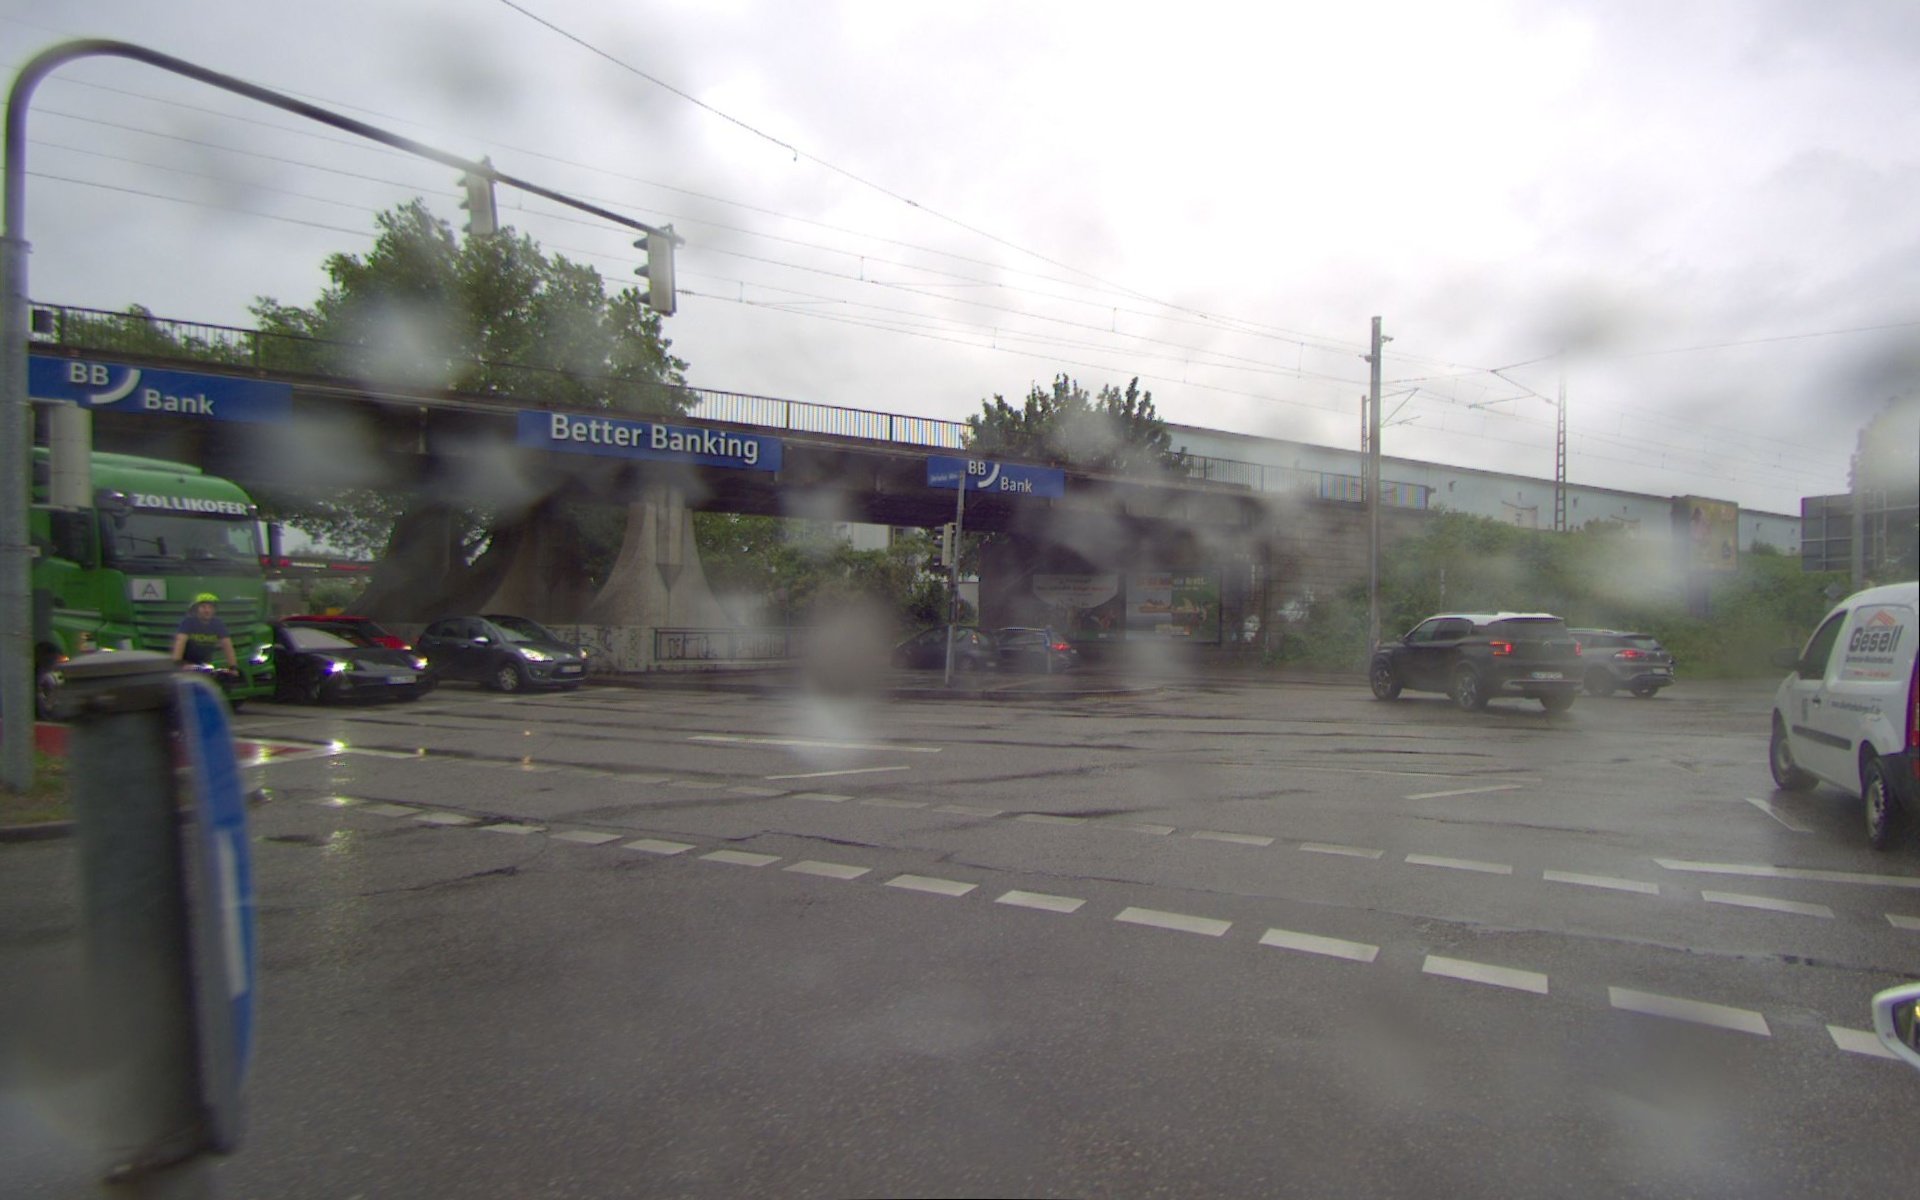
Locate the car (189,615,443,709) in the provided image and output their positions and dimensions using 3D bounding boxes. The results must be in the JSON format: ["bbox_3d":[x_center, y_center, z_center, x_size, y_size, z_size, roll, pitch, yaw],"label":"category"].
[{"bbox_3d":[-11.602,1.041,18.043,4.598,1.505,1.744,0,-2,27],"label":"car"}]

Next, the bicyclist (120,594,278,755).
[{"bbox_3d":[-8.094,0.767,10.722,1.026,1.614,0.805,2,0,4],"label":"bicyclist"}]

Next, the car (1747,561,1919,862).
[{"bbox_3d":[7.330,0.699,7.415,1.730,1.801,3.993,2,1,29],"label":"car"}]

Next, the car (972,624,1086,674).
[{"bbox_3d":[2.187,1.523,32.008,3.292,1.493,1.568,0,-1,25],"label":"car"}]

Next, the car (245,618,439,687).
[{"bbox_3d":[-14.103,1.148,22.930,3.923,1.471,1.820,0,-2,23],"label":"car"}]

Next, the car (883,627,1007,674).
[{"bbox_3d":[-0.460,1.469,29.914,3.399,1.323,1.579,-1,-1,32],"label":"car"}]

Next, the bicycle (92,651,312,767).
[{"bbox_3d":[-8.060,1.137,10.725,1.874,1.109,0.695,1,0,5],"label":"bicycle"}]

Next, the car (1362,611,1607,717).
[{"bbox_3d":[9.025,1.046,17.709,1.888,1.630,3.996,0,-1,-7],"label":"car"}]

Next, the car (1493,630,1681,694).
[{"bbox_3d":[14.027,1.333,22.628,1.663,1.300,3.238,1,-1,-24],"label":"car"}]

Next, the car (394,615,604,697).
[{"bbox_3d":[-9.437,1.099,20.587,3.922,1.566,1.660,0,-2,22],"label":"car"}]

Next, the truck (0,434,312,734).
[{"bbox_3d":[-15.324,-0.165,16.665,10.001,4.001,2.686,0,-1,25],"label":"truck"}]
